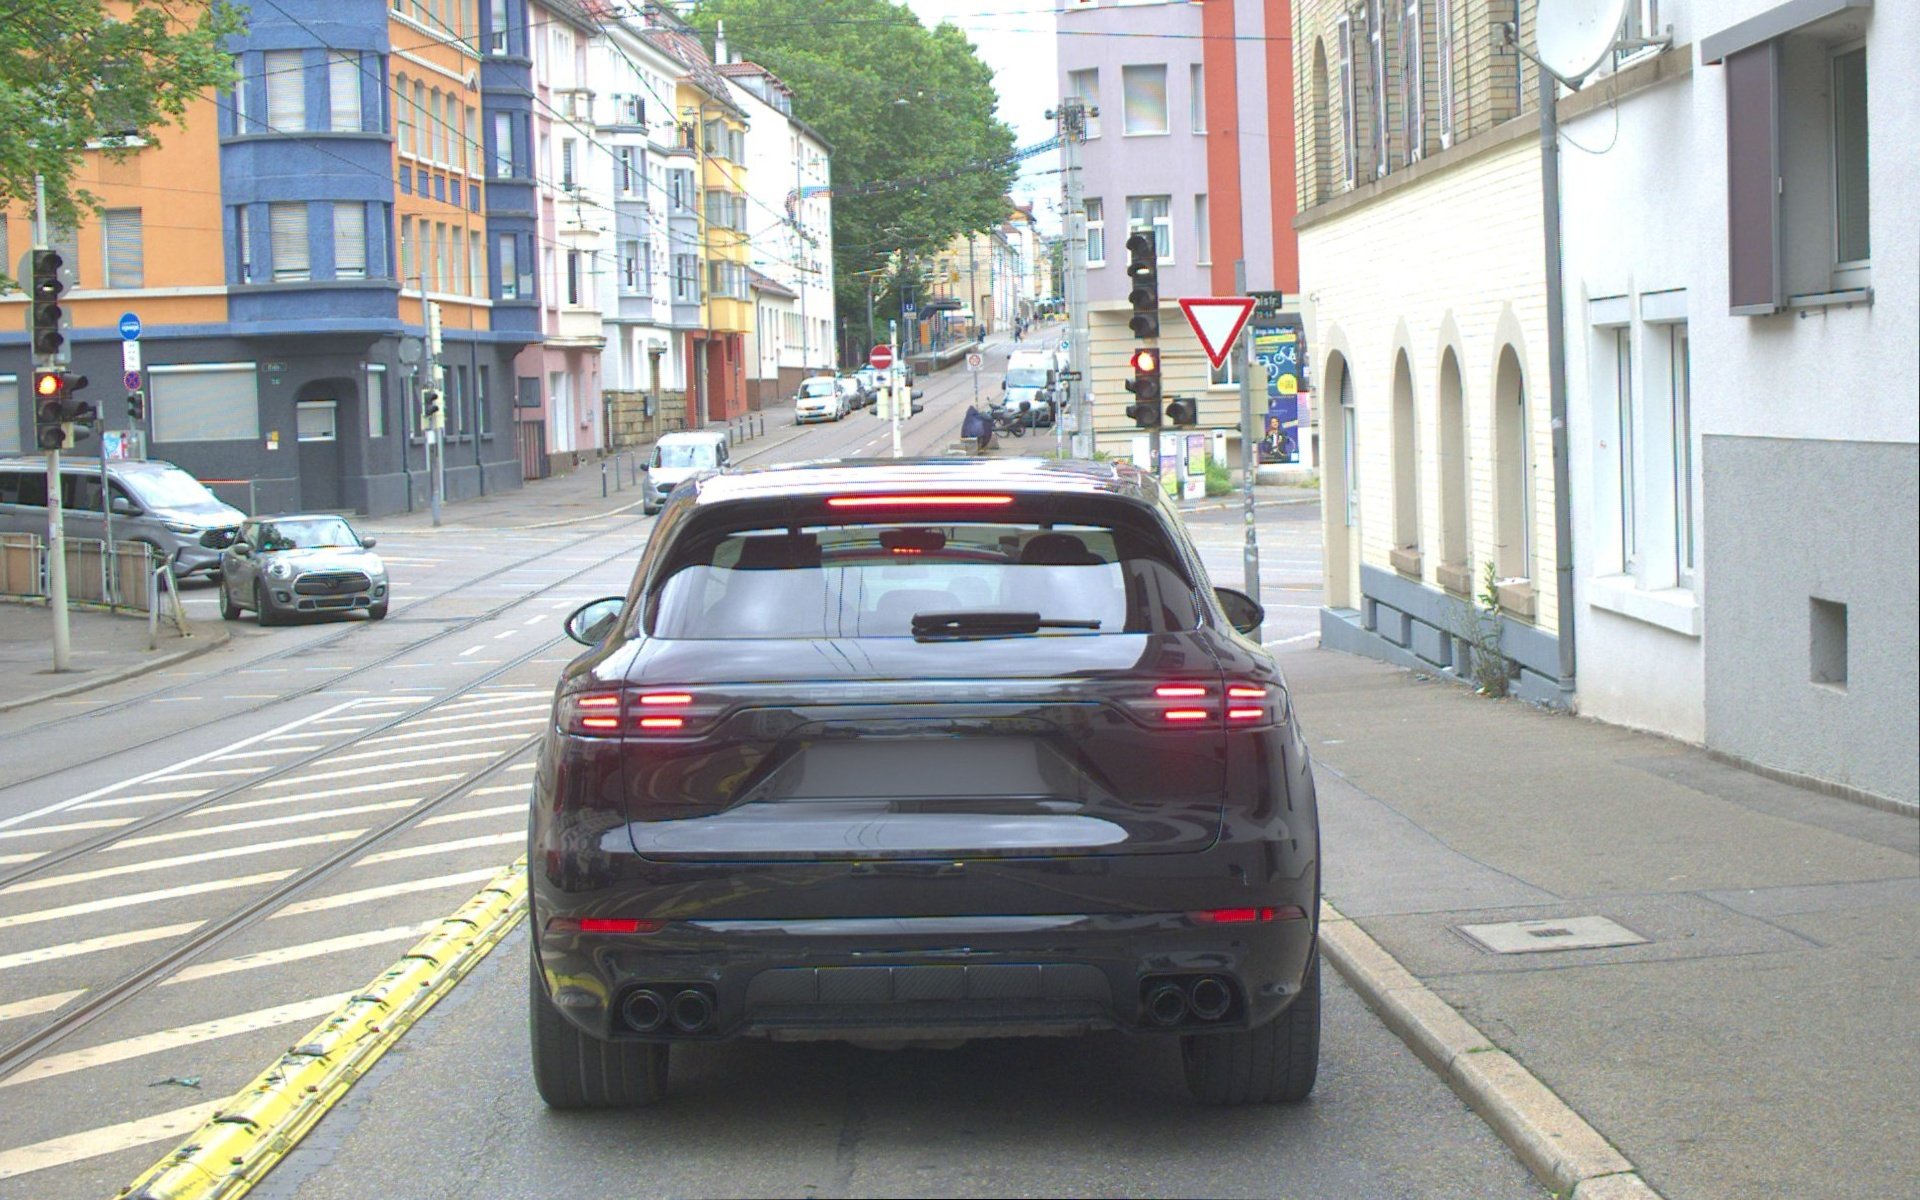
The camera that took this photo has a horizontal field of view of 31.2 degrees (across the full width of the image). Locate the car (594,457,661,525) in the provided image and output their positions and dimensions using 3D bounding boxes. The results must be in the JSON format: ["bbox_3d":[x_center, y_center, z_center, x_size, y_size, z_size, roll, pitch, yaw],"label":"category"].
[{"bbox_3d":[-8.736,-2.856,90.509,1.394,1.716,3.359,-2,1,0],"label":"car"}]

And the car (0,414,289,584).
[{"bbox_3d":[-13.809,-1.605,55.663,5.295,2.234,1.996,0,-14,23],"label":"car"}]

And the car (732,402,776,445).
[{"bbox_3d":[-7.560,-6.502,126.563,1.394,1.445,3.359,-2,1,0],"label":"car"}]

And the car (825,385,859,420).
[{"bbox_3d":[-5.302,-8.873,154.575,1.394,1.445,3.359,-2,1,0],"label":"car"}]

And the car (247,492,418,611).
[{"bbox_3d":[-8.427,-0.669,46.419,1.634,1.503,3.540,-2,1,0],"label":"car"}]

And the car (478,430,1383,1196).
[{"bbox_3d":[-0.101,0.434,9.742,1.993,1.670,4.000,-2,1,-1],"label":"car"}]

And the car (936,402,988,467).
[{"bbox_3d":[0.051,-4.637,96.839,1.394,1.716,3.359,-2,1,0],"label":"car"}]

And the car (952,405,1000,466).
[{"bbox_3d":[0.467,-4.963,103.792,1.394,1.716,3.359,-2,1,0],"label":"car"}]

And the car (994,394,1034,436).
[{"bbox_3d":[2.022,-6.932,128.846,1.394,1.445,3.359,-2,1,0],"label":"car"}]

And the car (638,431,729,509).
[{"bbox_3d":[-6.521,-3.051,81.419,1.751,1.753,4.254,-2,1,0],"label":"car"}]
